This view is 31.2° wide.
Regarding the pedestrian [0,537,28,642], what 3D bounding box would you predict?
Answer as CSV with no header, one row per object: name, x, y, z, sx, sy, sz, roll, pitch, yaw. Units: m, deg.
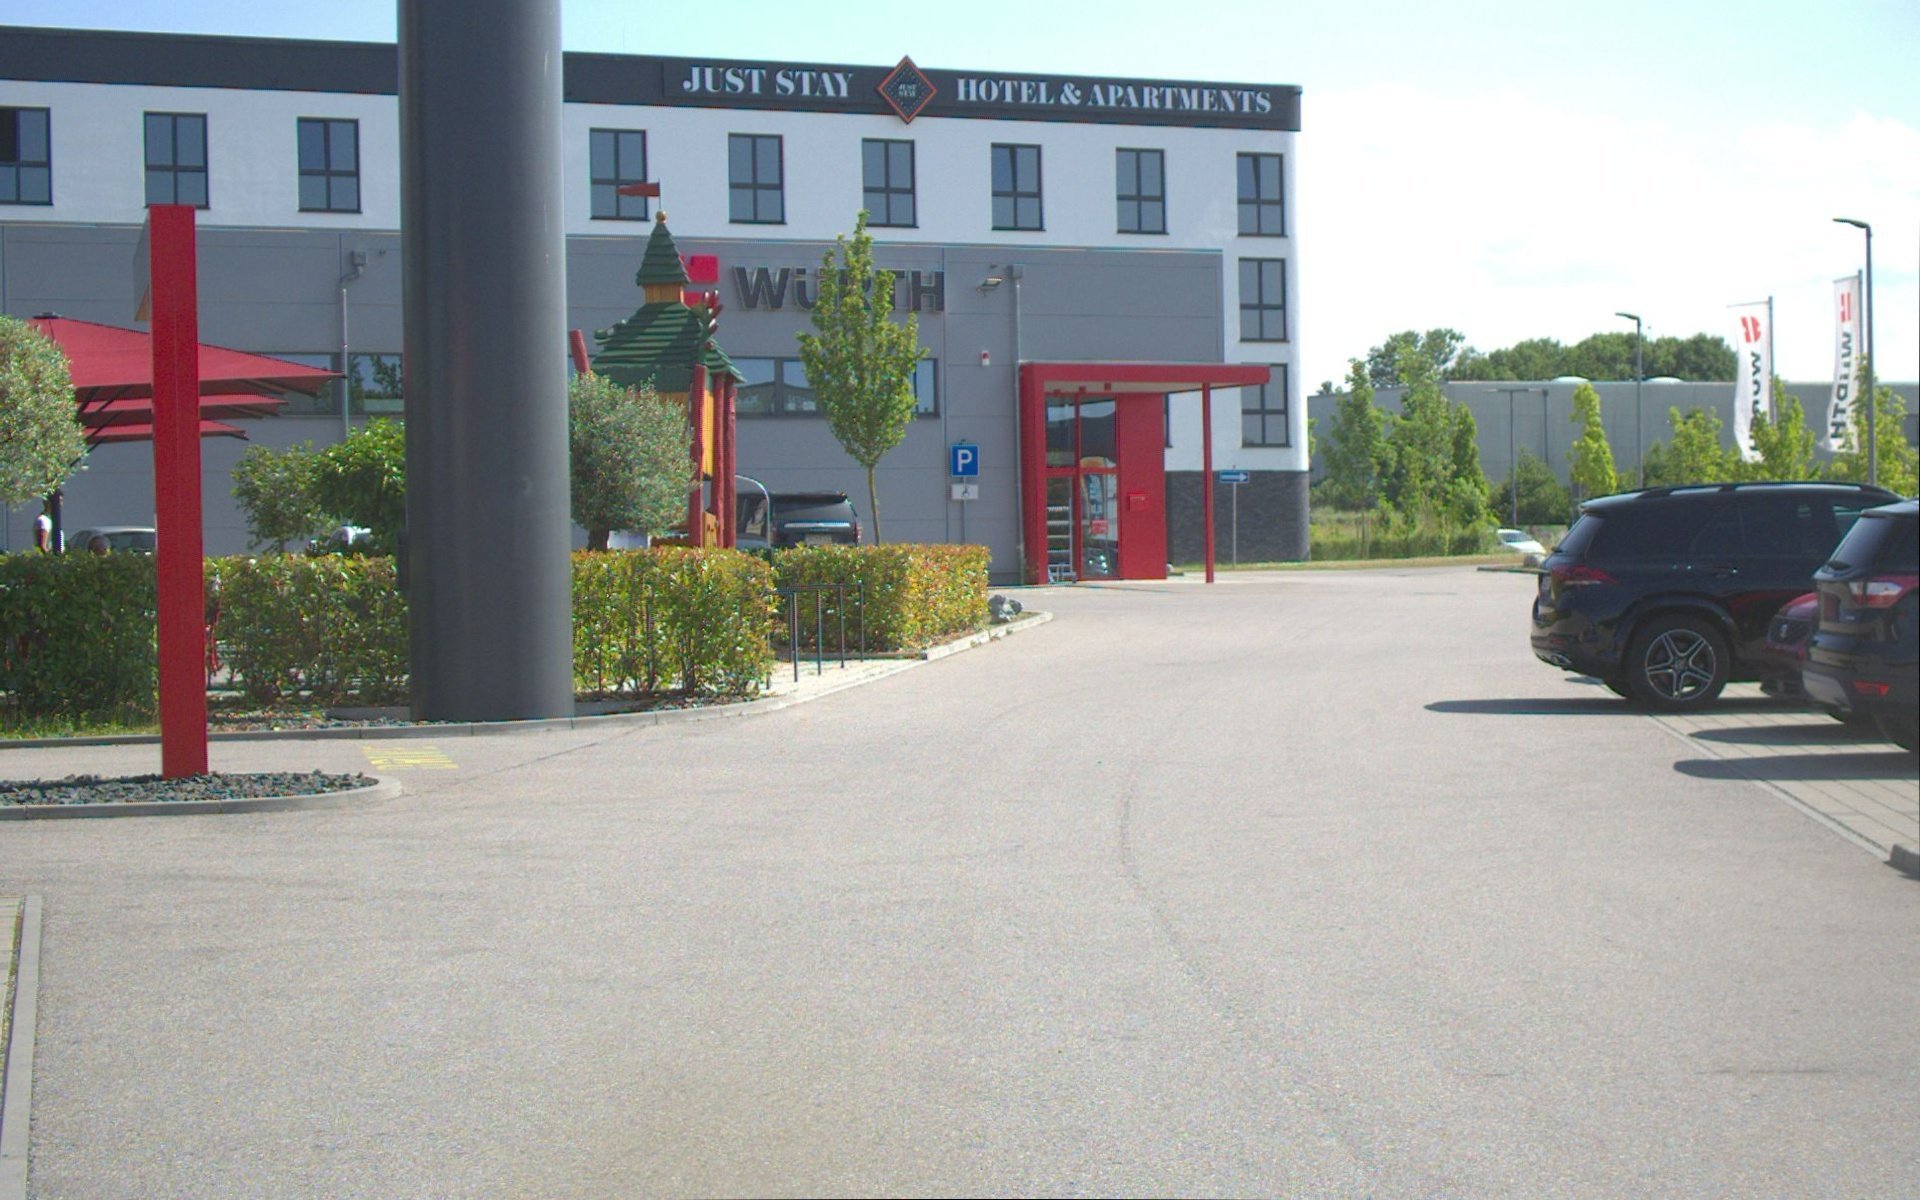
pedestrian,-10.184,-0.115,36.169,0.576,1.086,0.545,-1,2,1

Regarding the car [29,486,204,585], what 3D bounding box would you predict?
car,-14.288,-1.109,58.081,1.947,1.580,4.377,-2,2,-26

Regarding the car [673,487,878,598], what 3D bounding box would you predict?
car,-3.362,-1.059,61.566,2.070,1.874,4.880,-2,2,-23

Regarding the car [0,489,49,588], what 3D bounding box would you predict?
car,-16.435,-1.024,56.805,1.879,1.580,4.110,-2,2,-26

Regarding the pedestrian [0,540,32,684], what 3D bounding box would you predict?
pedestrian,-8.092,0.102,28.424,0.648,1.181,0.482,-2,2,-40

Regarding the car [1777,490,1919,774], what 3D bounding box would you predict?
car,7.419,0.175,21.347,4.319,1.697,1.895,0,1,5

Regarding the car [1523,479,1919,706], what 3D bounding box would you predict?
car,6.921,-0.079,27.507,4.575,1.754,1.895,0,1,3

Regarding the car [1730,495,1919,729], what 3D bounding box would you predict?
car,7.757,0.055,24.620,4.068,1.603,1.896,0,2,1

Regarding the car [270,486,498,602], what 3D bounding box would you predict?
car,-8.095,-0.810,47.997,1.947,1.525,4.377,-2,2,-26
